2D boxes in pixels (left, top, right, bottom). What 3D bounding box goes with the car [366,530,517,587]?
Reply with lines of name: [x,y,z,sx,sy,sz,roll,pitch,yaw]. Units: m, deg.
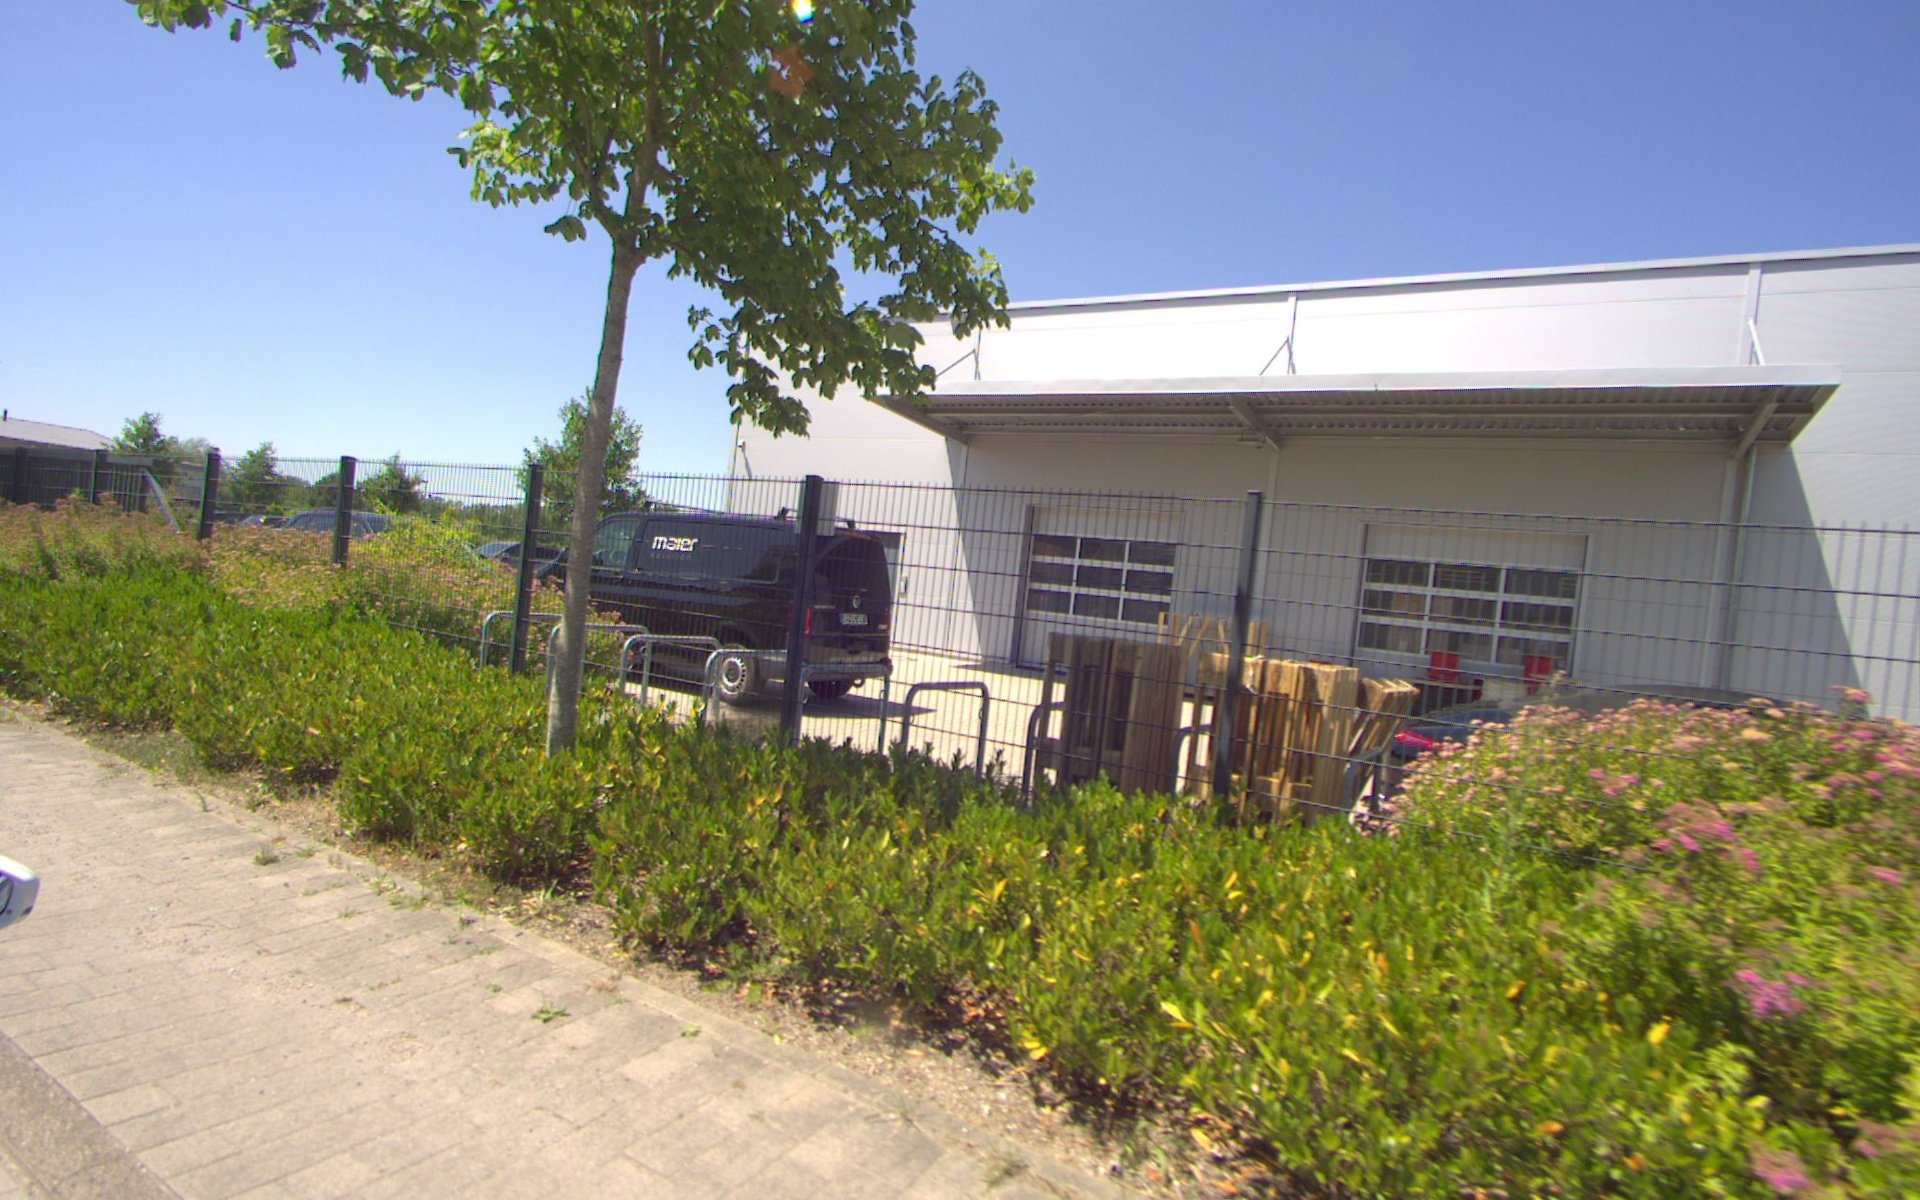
car: [-16.542,-1.295,32.257,1.738,1.421,3.873,6,1,34]

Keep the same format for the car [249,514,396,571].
car: [-23.123,-2.060,36.612,1.886,1.572,4.044,6,1,30]

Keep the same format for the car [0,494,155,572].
car: [-20.412,-1.521,21.837,1.735,1.440,4.219,6,1,30]

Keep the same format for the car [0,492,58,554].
car: [-25.135,-2.069,24.551,1.576,1.468,4.348,6,1,30]

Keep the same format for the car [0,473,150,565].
car: [-22.440,-2.006,23.484,1.871,1.898,5.117,6,1,30]

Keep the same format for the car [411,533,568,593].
car: [-14.324,-1.086,30.830,1.788,1.421,3.990,6,1,30]

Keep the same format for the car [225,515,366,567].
car: [-24.949,-2.183,37.909,1.746,1.467,4.044,6,1,30]

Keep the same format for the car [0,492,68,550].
car: [-26.937,-2.281,26.886,1.725,1.463,4.282,6,1,30]

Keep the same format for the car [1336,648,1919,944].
car: [4.749,1.183,6.797,3.815,1.288,1.619,6,1,32]

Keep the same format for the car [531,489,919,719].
car: [-2.803,-0.042,11.742,4.155,2.114,1.877,6,2,31]
